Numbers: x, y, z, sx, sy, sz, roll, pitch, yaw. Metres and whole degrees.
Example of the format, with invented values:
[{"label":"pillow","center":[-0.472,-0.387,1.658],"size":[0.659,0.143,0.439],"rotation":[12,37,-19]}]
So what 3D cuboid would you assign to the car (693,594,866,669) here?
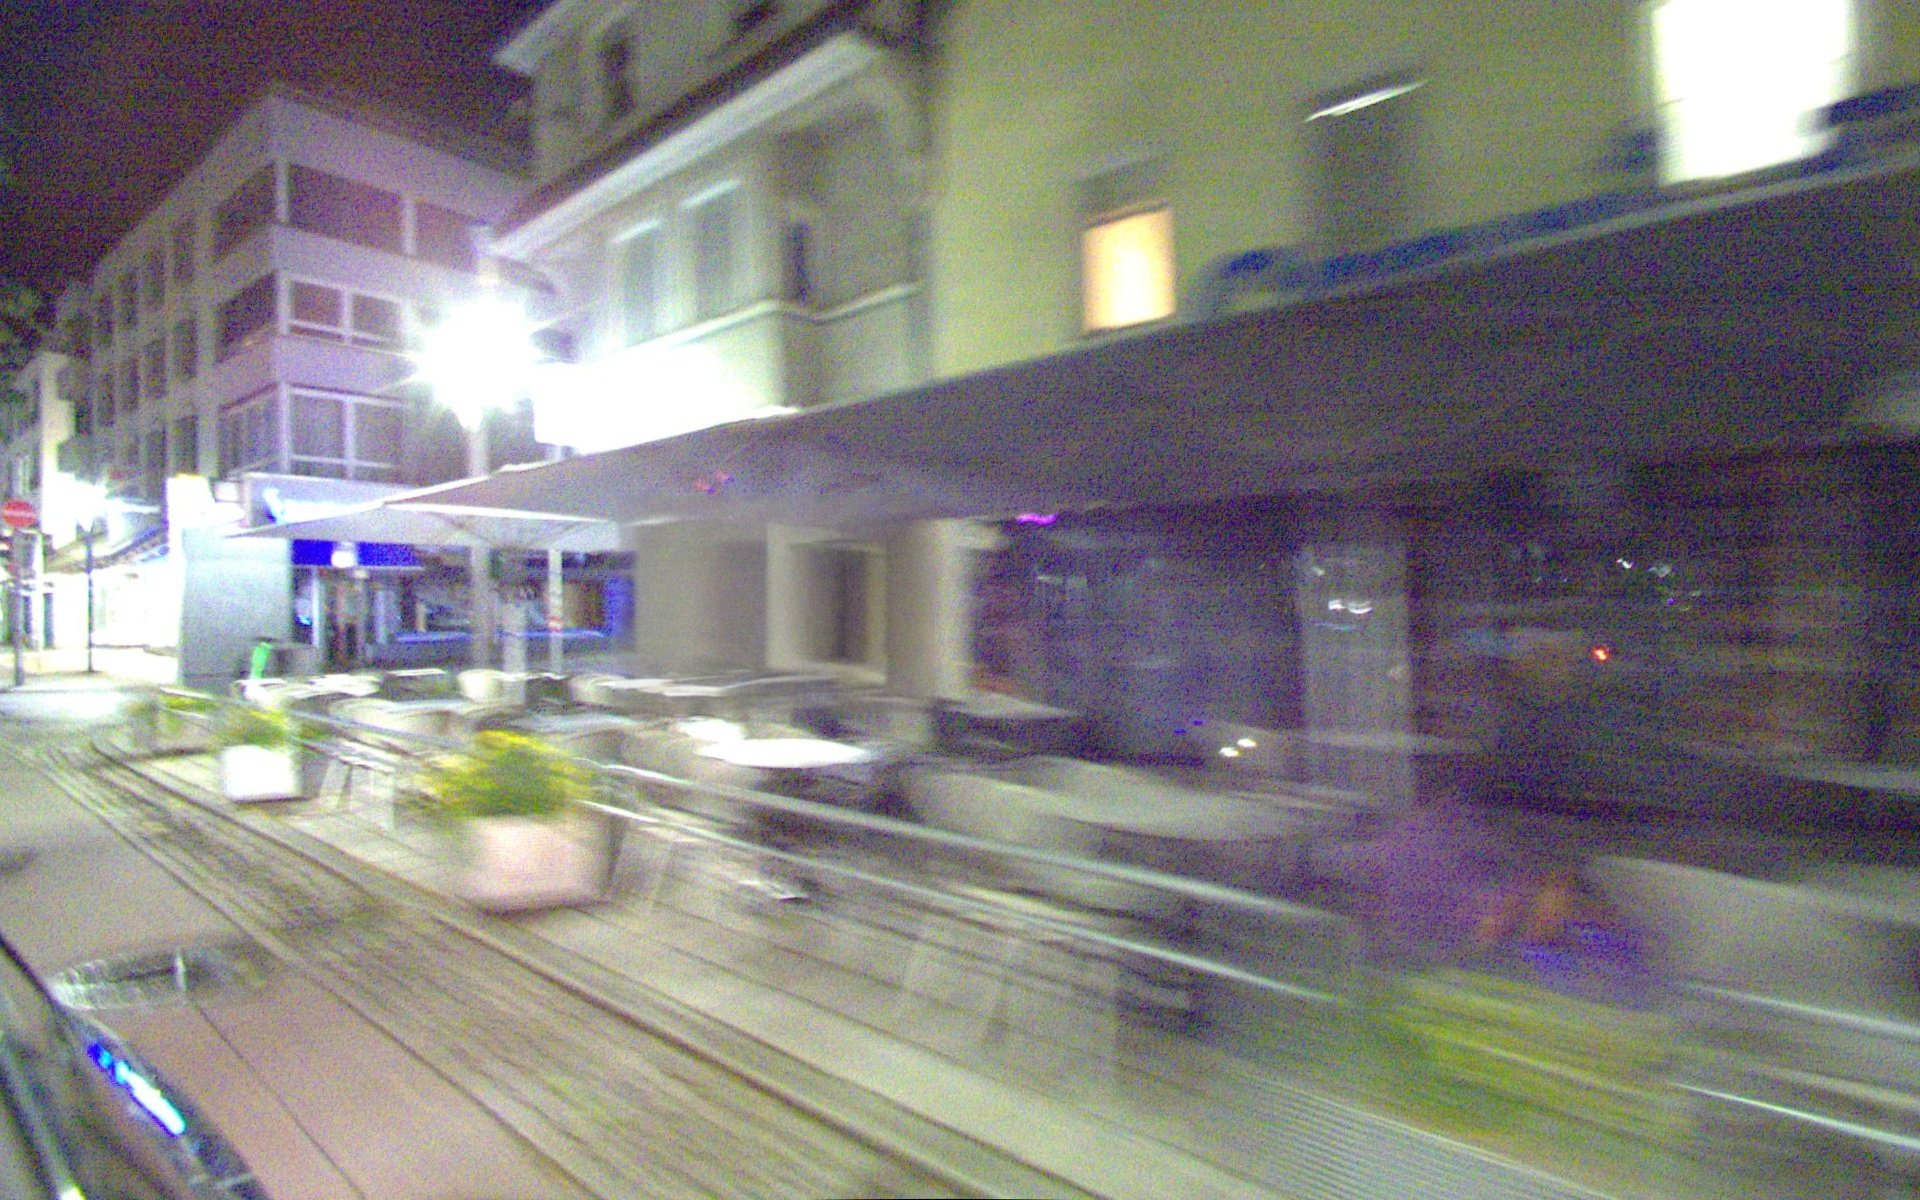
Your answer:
[{"label":"car","center":[-4.008,0.680,22.921],"size":[1.796,1.532,3.566],"rotation":[-4,-2,37]}]
